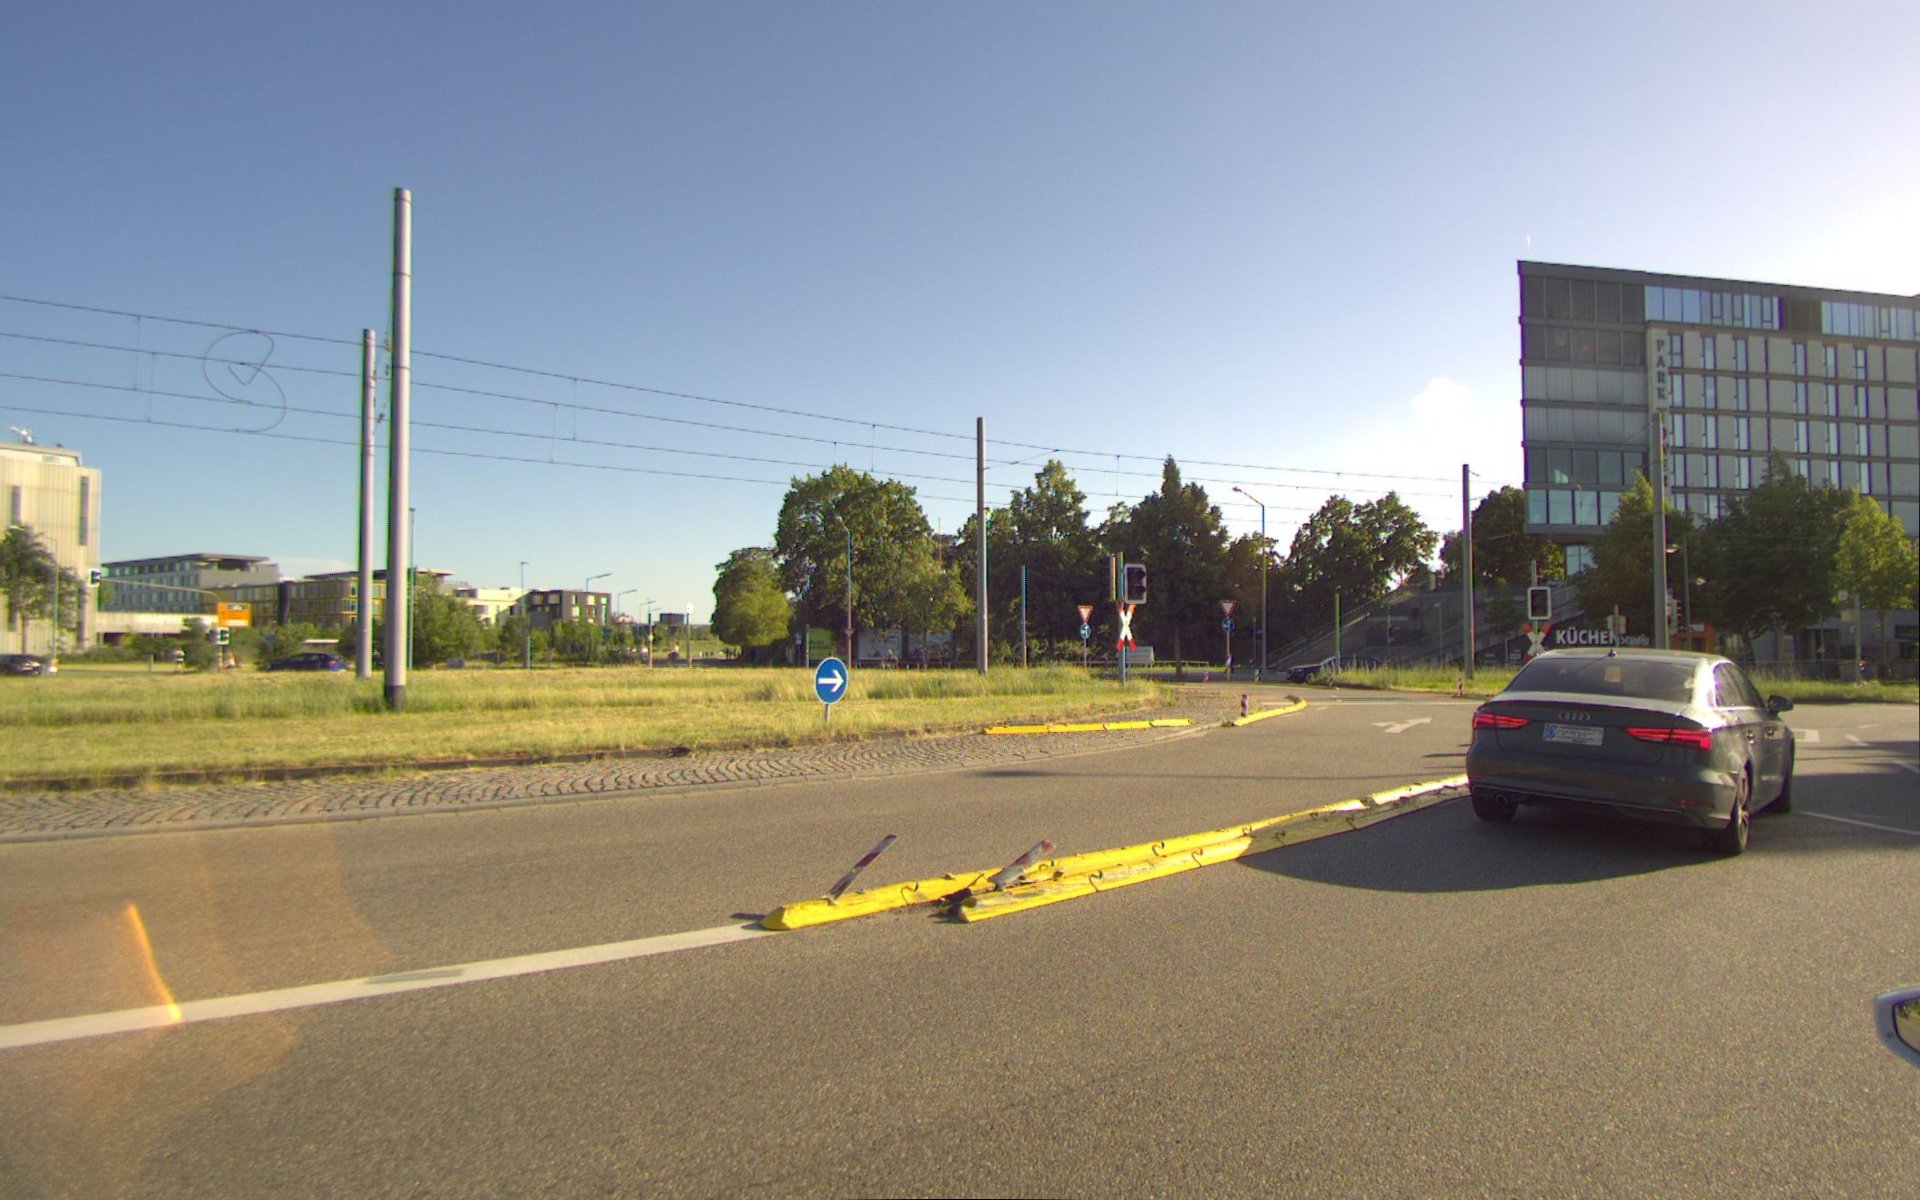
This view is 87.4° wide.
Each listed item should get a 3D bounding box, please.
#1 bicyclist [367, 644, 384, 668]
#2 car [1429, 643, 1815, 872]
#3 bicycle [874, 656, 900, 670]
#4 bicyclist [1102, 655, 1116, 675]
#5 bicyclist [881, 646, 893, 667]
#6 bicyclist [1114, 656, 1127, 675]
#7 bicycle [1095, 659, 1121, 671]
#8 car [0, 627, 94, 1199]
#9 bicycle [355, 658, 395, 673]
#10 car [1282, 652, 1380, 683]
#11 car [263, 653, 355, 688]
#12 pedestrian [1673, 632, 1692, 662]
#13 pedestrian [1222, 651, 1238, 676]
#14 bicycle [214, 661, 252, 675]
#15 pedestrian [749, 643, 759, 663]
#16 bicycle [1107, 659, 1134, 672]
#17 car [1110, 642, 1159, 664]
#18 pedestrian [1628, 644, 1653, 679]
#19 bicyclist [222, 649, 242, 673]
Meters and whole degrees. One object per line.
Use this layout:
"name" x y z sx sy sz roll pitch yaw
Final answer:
"bicyclist" -39.675 3.823 68.177 0.821 1.601 0.660 0 -2 -17
"car" 5.661 1.075 8.347 4.329 1.398 1.744 3 -3 -43
"bicycle" -5.381 4.653 74.280 1.832 1.025 0.587 0 -2 9
"bicyclist" 11.022 4.798 74.375 0.826 1.410 0.613 0 -2 -25
"bicyclist" -5.372 4.175 74.283 0.741 1.487 0.587 0 -2 9
"bicyclist" 11.747 4.781 73.507 0.709 1.410 0.613 0 -2 -25
"bicycle" 10.962 4.800 74.345 1.863 0.863 0.613 0 -2 -26
"car" -4.381 0.782 1.043 4.936 1.462 1.792 0 -1 -17
"bicycle" -39.690 4.430 68.180 2.226 1.001 0.660 0 -2 -17
"car" 18.947 3.447 51.436 4.400 1.506 1.738 0 -2 3
"car" -35.324 3.797 54.590 3.840 1.808 1.776 -1 -2 2
"pedestrian" 48.712 3.172 67.725 0.819 2.040 0.639 0 -2 -10
"pedestrian" 18.452 4.332 68.617 0.747 1.650 0.884 0 -2 -8
"bicycle" -46.594 4.367 64.351 0.607 0.863 1.882 -2 -3 36
"pedestrian" -21.069 5.426 102.740 0.887 2.040 0.816 1 -2 -17
"bicycle" 11.745 4.784 73.498 1.863 0.863 0.613 0 -2 -26
"car" 14.841 4.490 85.319 3.681 1.829 1.834 -2 -3 34
"pedestrian" 28.989 2.613 42.800 0.666 1.485 0.554 1 -1 -14
"bicyclist" -46.627 3.896 64.322 0.607 1.537 0.922 -2 -3 36
